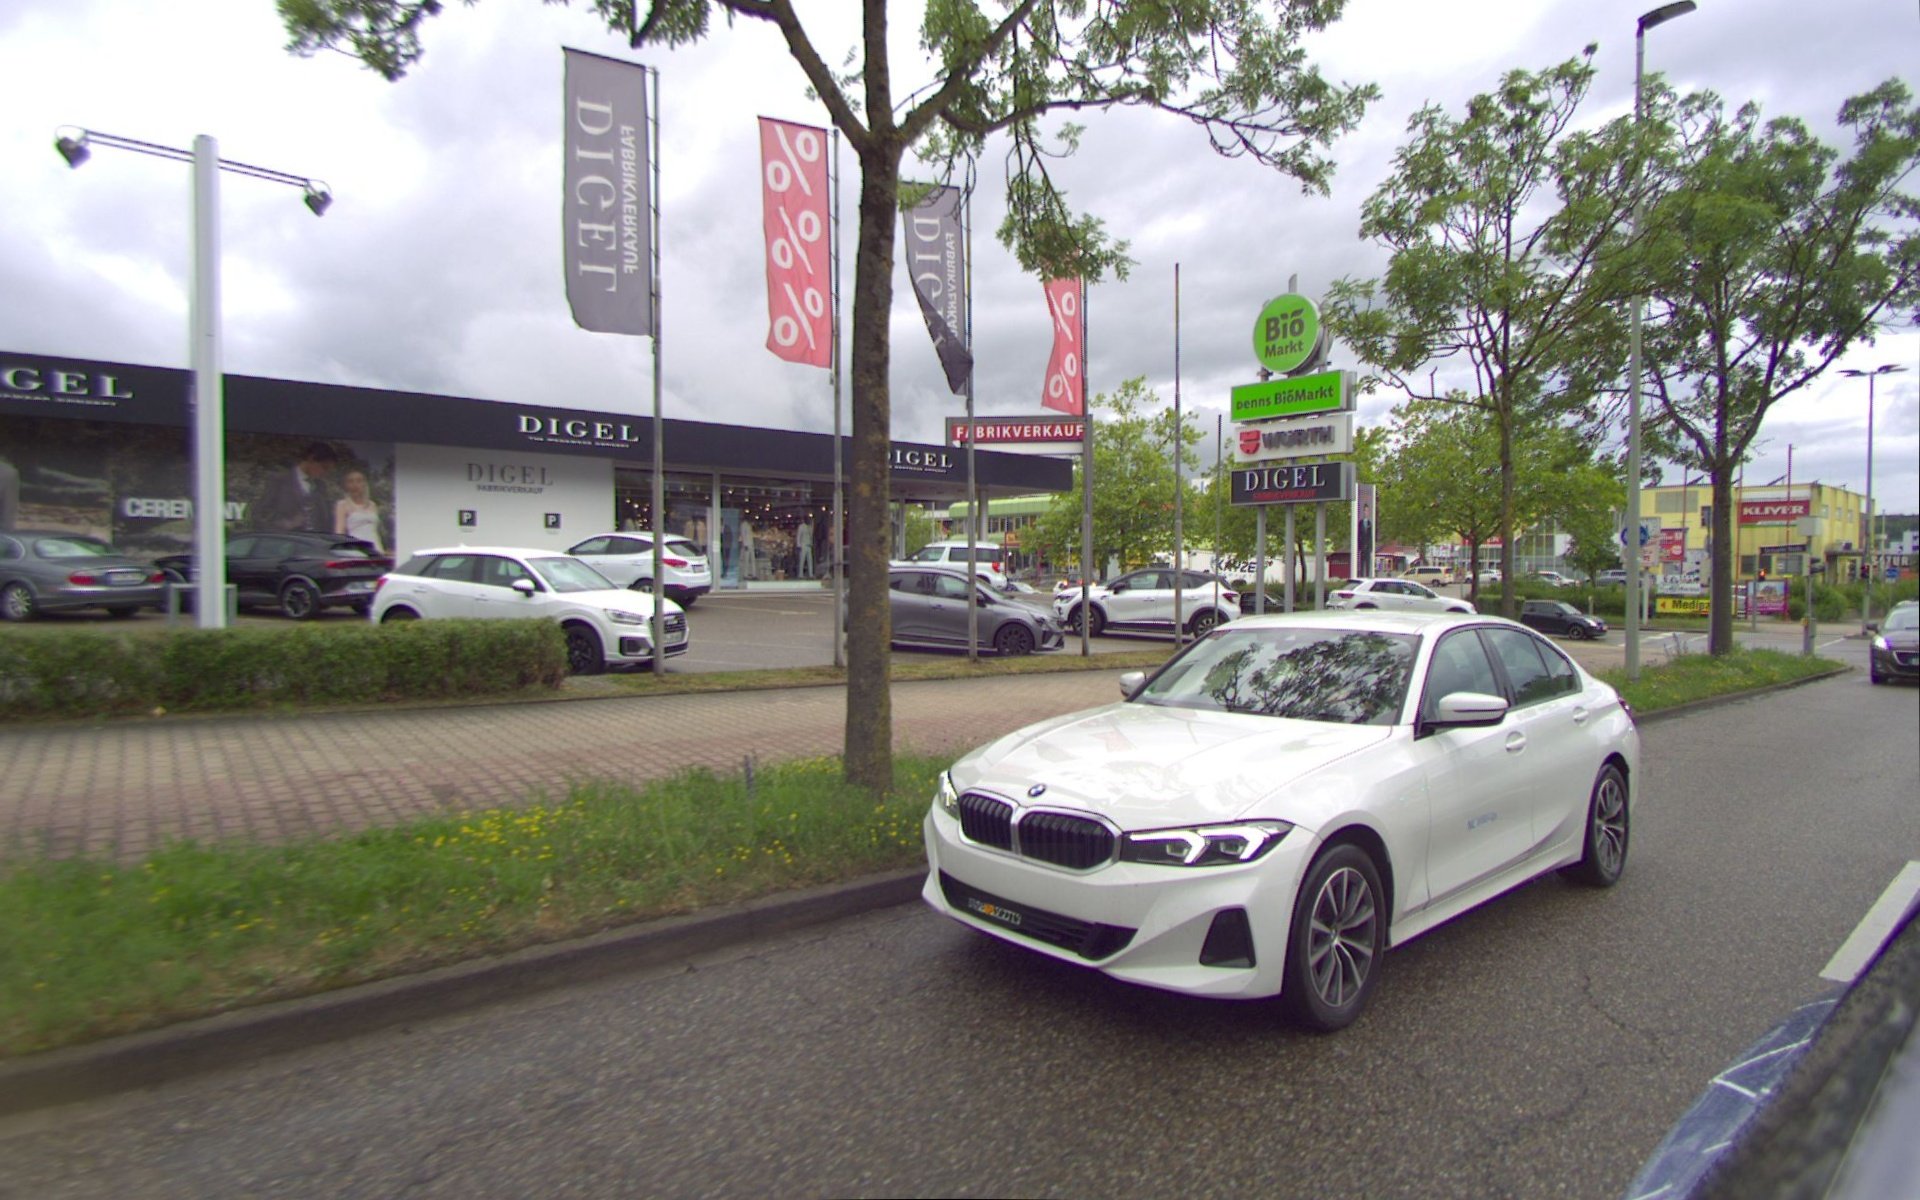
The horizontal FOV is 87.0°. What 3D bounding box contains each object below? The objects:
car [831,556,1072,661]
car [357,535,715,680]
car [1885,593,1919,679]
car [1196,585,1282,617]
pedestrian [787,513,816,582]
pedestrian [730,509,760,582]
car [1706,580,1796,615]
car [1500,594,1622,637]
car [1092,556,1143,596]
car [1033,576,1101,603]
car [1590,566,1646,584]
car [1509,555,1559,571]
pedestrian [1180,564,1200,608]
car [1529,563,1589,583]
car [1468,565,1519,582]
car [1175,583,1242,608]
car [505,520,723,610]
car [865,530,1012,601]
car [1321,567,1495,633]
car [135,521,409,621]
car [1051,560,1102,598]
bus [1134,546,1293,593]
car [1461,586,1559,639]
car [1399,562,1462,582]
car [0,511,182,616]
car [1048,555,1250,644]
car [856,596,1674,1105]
[{"bbox_3d":[-0.088,0.089,17.692,3.952,1.454,1.740,4,3,8],"label":"car"},{"bbox_3d":[-5.548,0.019,13.367,4.123,1.490,1.783,4,3,15],"label":"car"},{"bbox_3d":[19.559,0.682,19.751,4.145,1.601,1.797,1,-1,-42],"label":"car"},{"bbox_3d":[14.501,0.013,52.740,1.715,1.529,3.990,-3,3,-44],"label":"car"},{"bbox_3d":[-4.753,-1.559,30.274,0.646,2.039,0.612,0,-1,-39],"label":"pedestrian"},{"bbox_3d":[-6.181,-1.557,29.084,0.646,2.039,0.612,0,-1,-39],"label":"pedestrian"},{"bbox_3d":[45.659,-0.172,58.489,3.982,1.834,1.743,3,2,39],"label":"car"},{"bbox_3d":[24.458,0.593,41.270,1.715,1.529,3.990,-3,3,-44],"label":"car"},{"bbox_3d":[7.261,-1.128,46.415,1.775,1.528,4.099,4,5,15],"label":"car"},{"bbox_3d":[6.482,-0.647,61.604,1.715,1.529,3.990,-3,3,-44],"label":"car"},{"bbox_3d":[61.099,-2.357,94.008,1.768,1.529,3.997,1,2,-39],"label":"car"},{"bbox_3d":[61.153,-3.936,107.832,1.791,1.601,4.221,1,2,-39],"label":"car"},{"bbox_3d":[9.157,-0.560,40.259,0.556,1.702,0.473,1,0,-27],"label":"pedestrian"},{"bbox_3d":[50.895,-2.314,86.036,1.768,1.529,3.997,1,2,-39],"label":"car"},{"bbox_3d":[55.169,-2.795,104.695,1.791,1.601,4.221,1,2,-39],"label":"car"},{"bbox_3d":[16.454,-0.304,67.075,1.715,1.529,3.990,-3,3,-44],"label":"car"},{"bbox_3d":[-7.891,-0.856,23.193,4.431,1.701,1.794,4,5,13],"label":"car"},{"bbox_3d":[-0.582,-1.038,29.605,4.046,1.766,1.798,4,4,7],"label":"car"},{"bbox_3d":[13.139,-0.039,29.913,4.238,1.598,1.742,4,3,5],"label":"car"},{"bbox_3d":[-12.456,-0.579,18.446,3.975,1.495,1.797,4,5,8],"label":"car"},{"bbox_3d":[5.655,-1.074,48.809,1.775,1.528,4.099,4,5,15],"label":"car"},{"bbox_3d":[22.651,-2.592,89.283,17.019,3.557,4.103,1,2,-39],"label":"bus"},{"bbox_3d":[18.513,0.392,34.262,1.716,1.599,3.863,3,1,10],"label":"car"},{"bbox_3d":[45.527,-2.734,98.011,1.998,1.820,5.093,1,2,-39],"label":"car"},{"bbox_3d":[-15.474,-0.682,16.600,4.425,1.412,1.797,4,5,9],"label":"car"},{"bbox_3d":[4.137,-0.061,22.337,4.114,1.598,1.738,4,3,12],"label":"car"},{"bbox_3d":[1.830,0.714,5.056,4.462,1.459,1.807,0,0,-41],"label":"car"}]
